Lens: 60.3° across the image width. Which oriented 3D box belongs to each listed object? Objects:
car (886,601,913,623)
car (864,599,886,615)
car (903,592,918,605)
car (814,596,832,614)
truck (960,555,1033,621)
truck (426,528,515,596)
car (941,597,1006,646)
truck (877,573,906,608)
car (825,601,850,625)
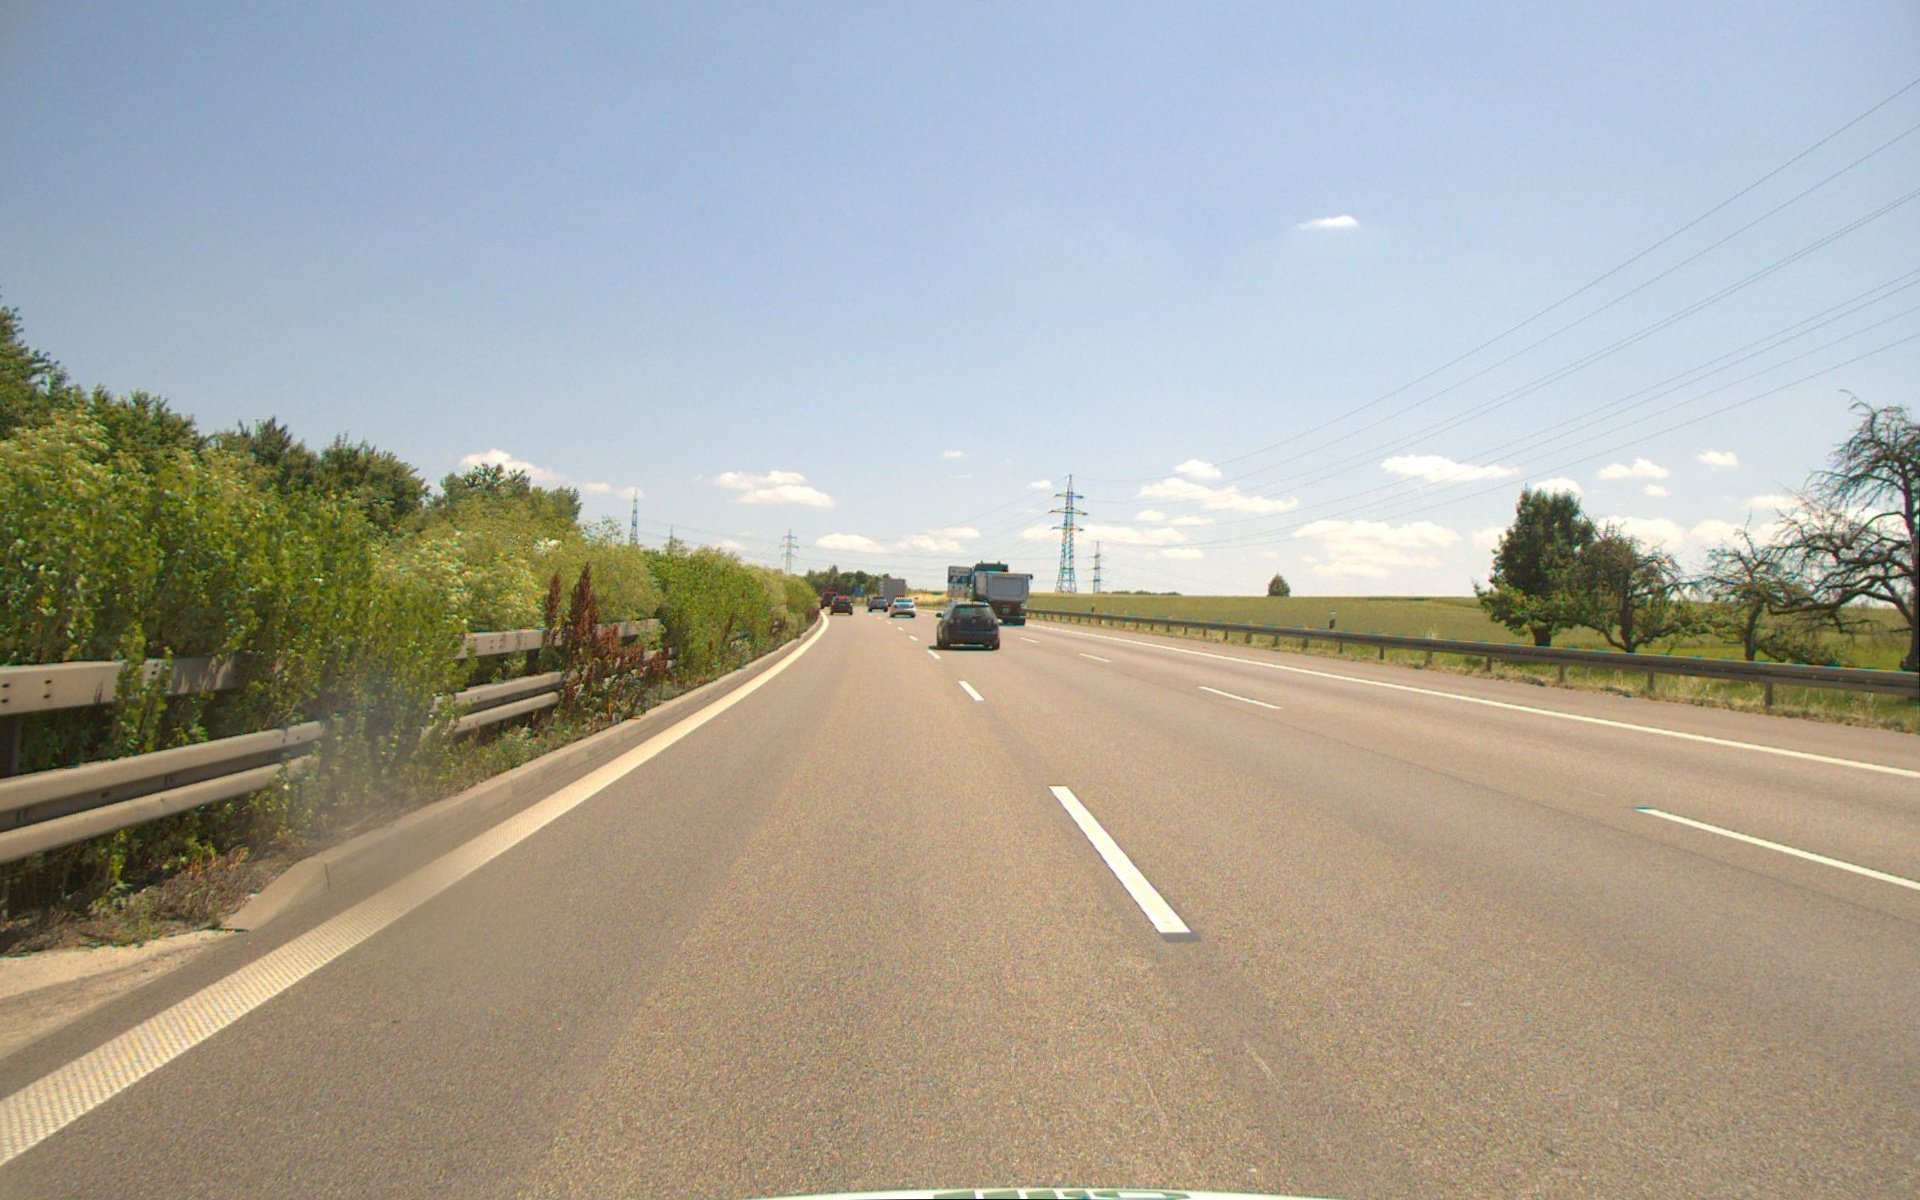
[{"bbox_3d":[-4.470,0.884,122.214,1.784,1.568,3.910,1,0,-6],"label":"car"},{"bbox_3d":[-8.308,0.692,161.361,1.804,1.568,3.908,1,0,-7],"label":"car"},{"bbox_3d":[-7.010,-0.204,231.685,1.954,1.885,3.997,1,0,-4],"label":"car"},{"bbox_3d":[-14.745,0.535,178.276,1.865,1.959,3.995,1,0,-5],"label":"car"},{"bbox_3d":[2.115,-0.685,101.759,2.810,3.789,12.744,1,0,-6],"label":"truck"},{"bbox_3d":[-20.928,-1.578,70.924,2.635,2.796,4.642,1,0,-3],"label":"truck"},{"bbox_3d":[0.382,0.648,51.652,1.721,1.454,3.997,1,0,-4],"label":"car"},{"bbox_3d":[-8.260,-1.082,198.315,3.158,3.993,9.051,1,-1,-5],"label":"truck"},{"bbox_3d":[-9.703,1.006,130.674,1.954,1.892,3.996,1,0,-5],"label":"car"}]
